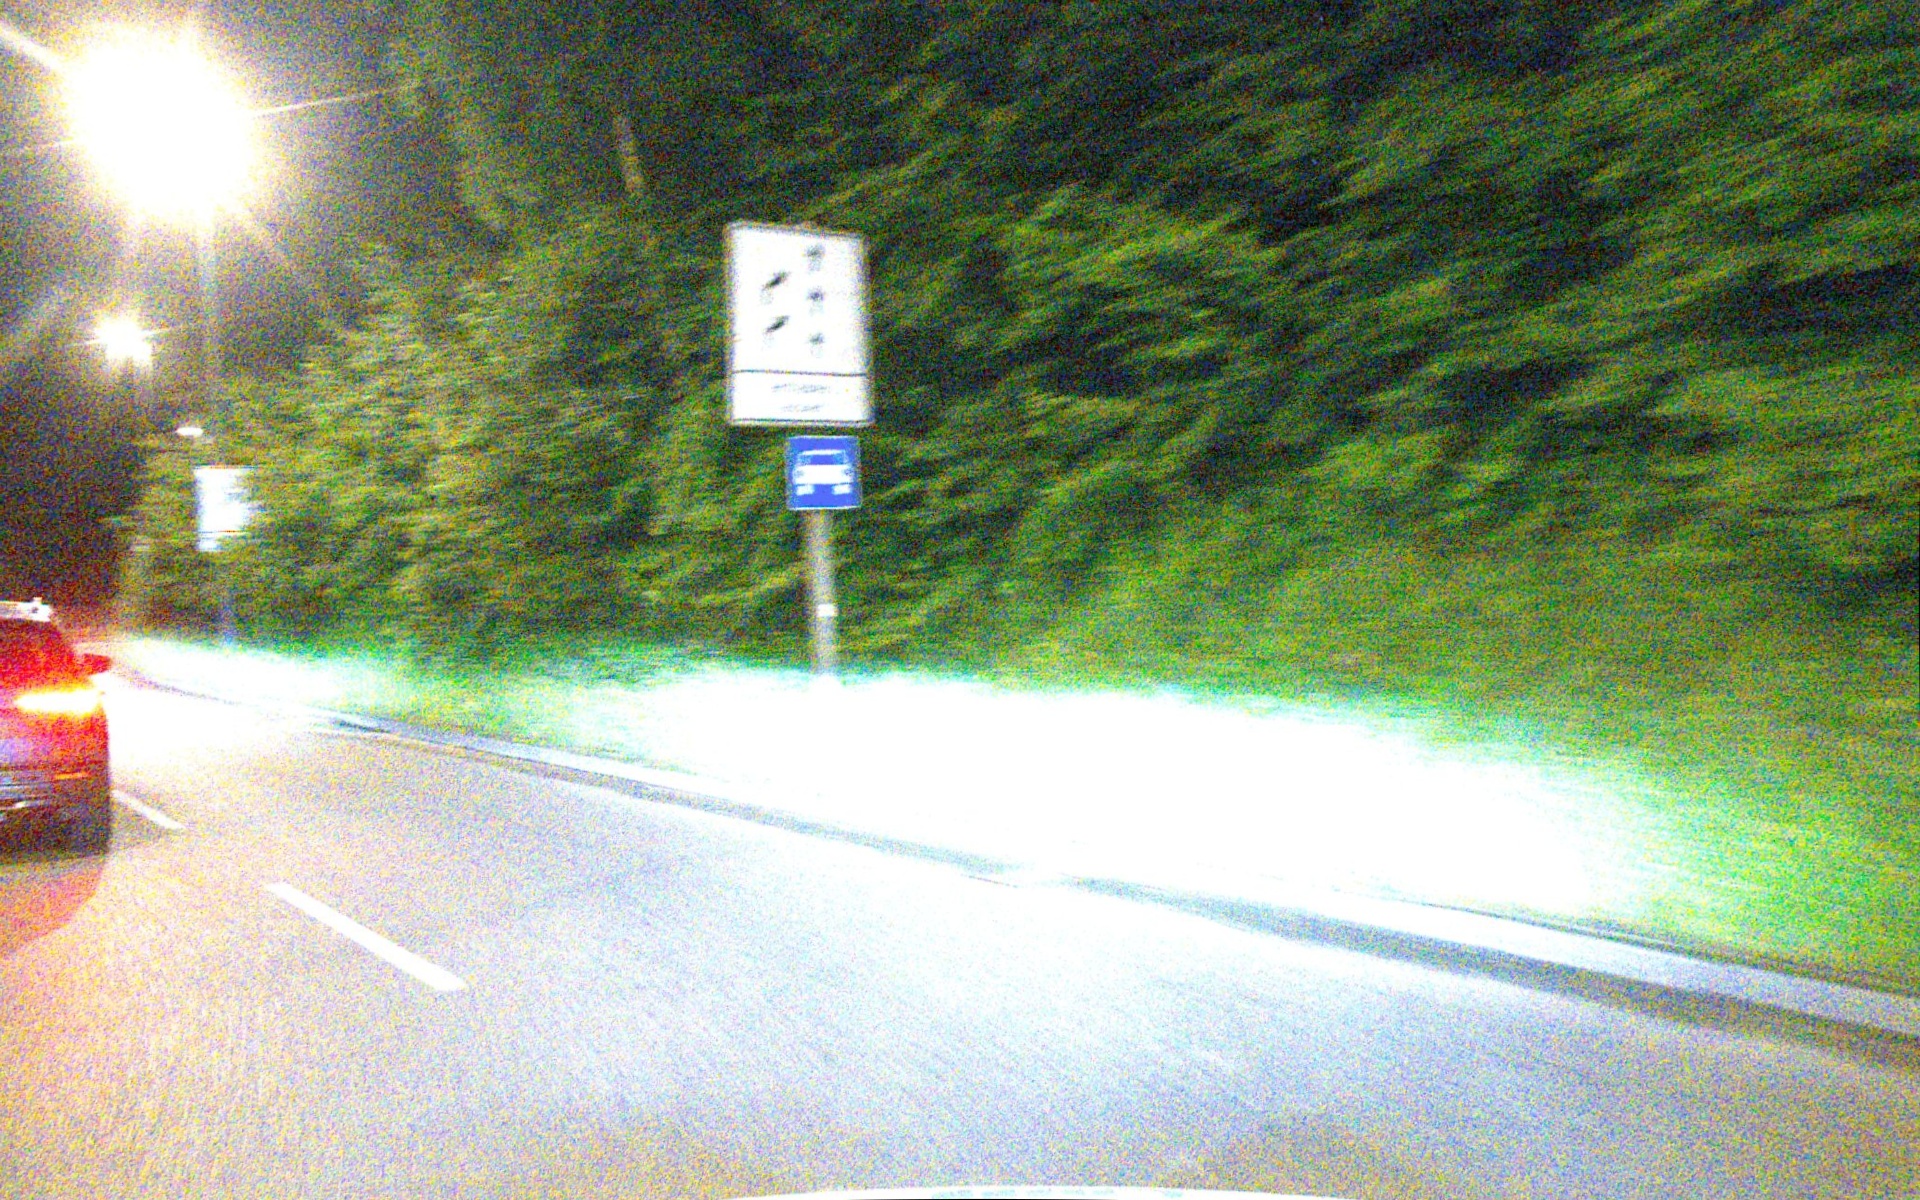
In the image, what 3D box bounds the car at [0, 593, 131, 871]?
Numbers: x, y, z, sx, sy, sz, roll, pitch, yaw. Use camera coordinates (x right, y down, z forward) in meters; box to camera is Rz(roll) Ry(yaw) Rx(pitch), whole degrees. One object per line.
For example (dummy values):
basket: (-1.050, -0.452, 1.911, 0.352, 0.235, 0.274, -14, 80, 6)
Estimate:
car: (-6.861, 0.798, 11.128, 1.835, 1.610, 3.959, -1, -1, -34)
